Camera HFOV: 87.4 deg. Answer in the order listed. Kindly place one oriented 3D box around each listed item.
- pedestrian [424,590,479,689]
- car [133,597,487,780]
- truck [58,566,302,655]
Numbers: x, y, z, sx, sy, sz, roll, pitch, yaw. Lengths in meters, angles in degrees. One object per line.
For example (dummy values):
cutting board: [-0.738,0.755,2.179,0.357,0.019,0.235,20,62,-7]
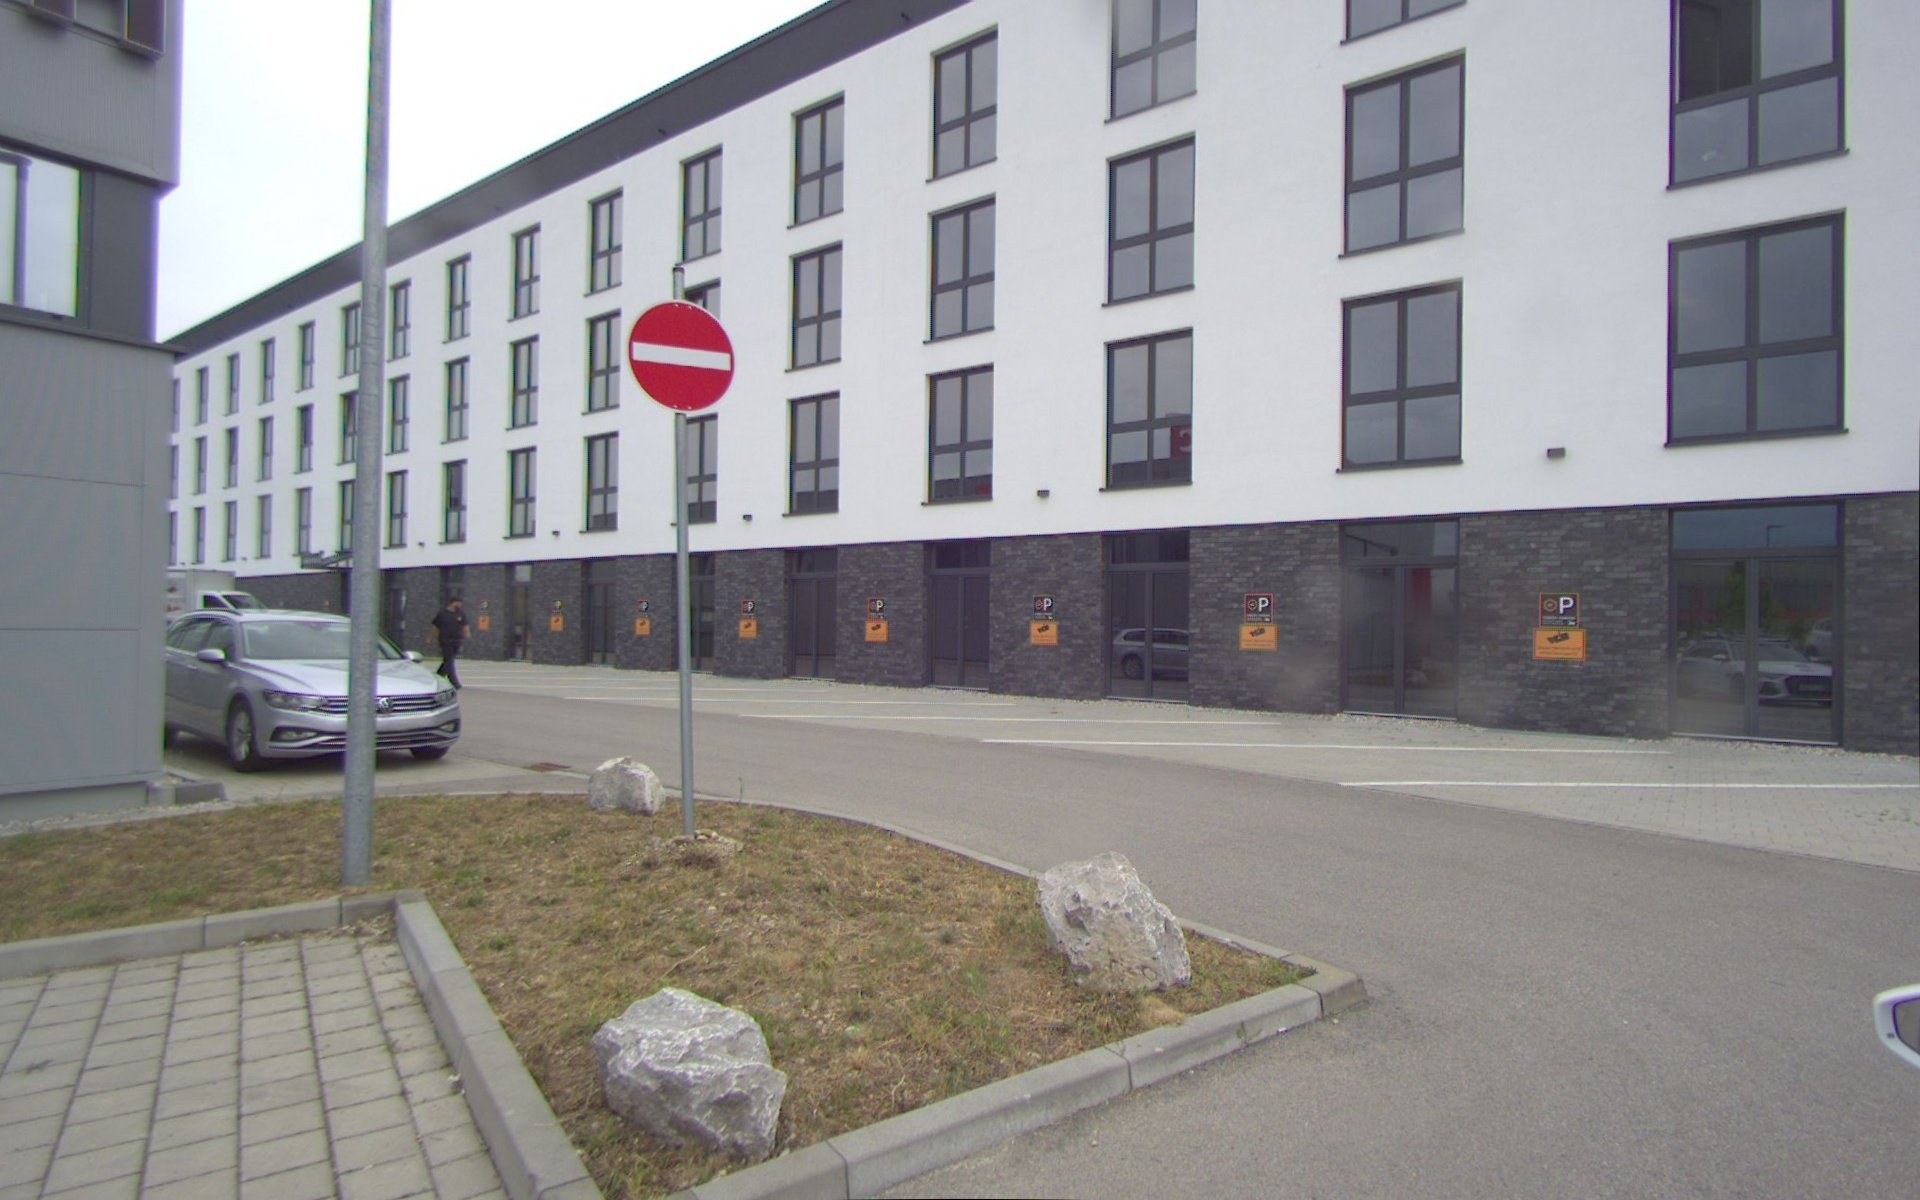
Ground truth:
pedestrian: [-9.767,0.754,19.294,0.802,1.846,0.706,0,-1,43]
car: [-7.044,0.798,10.664,4.702,1.511,1.971,0,-3,42]
truck: [-28.438,0.388,36.841,6.931,3.056,2.436,1,0,-2]
